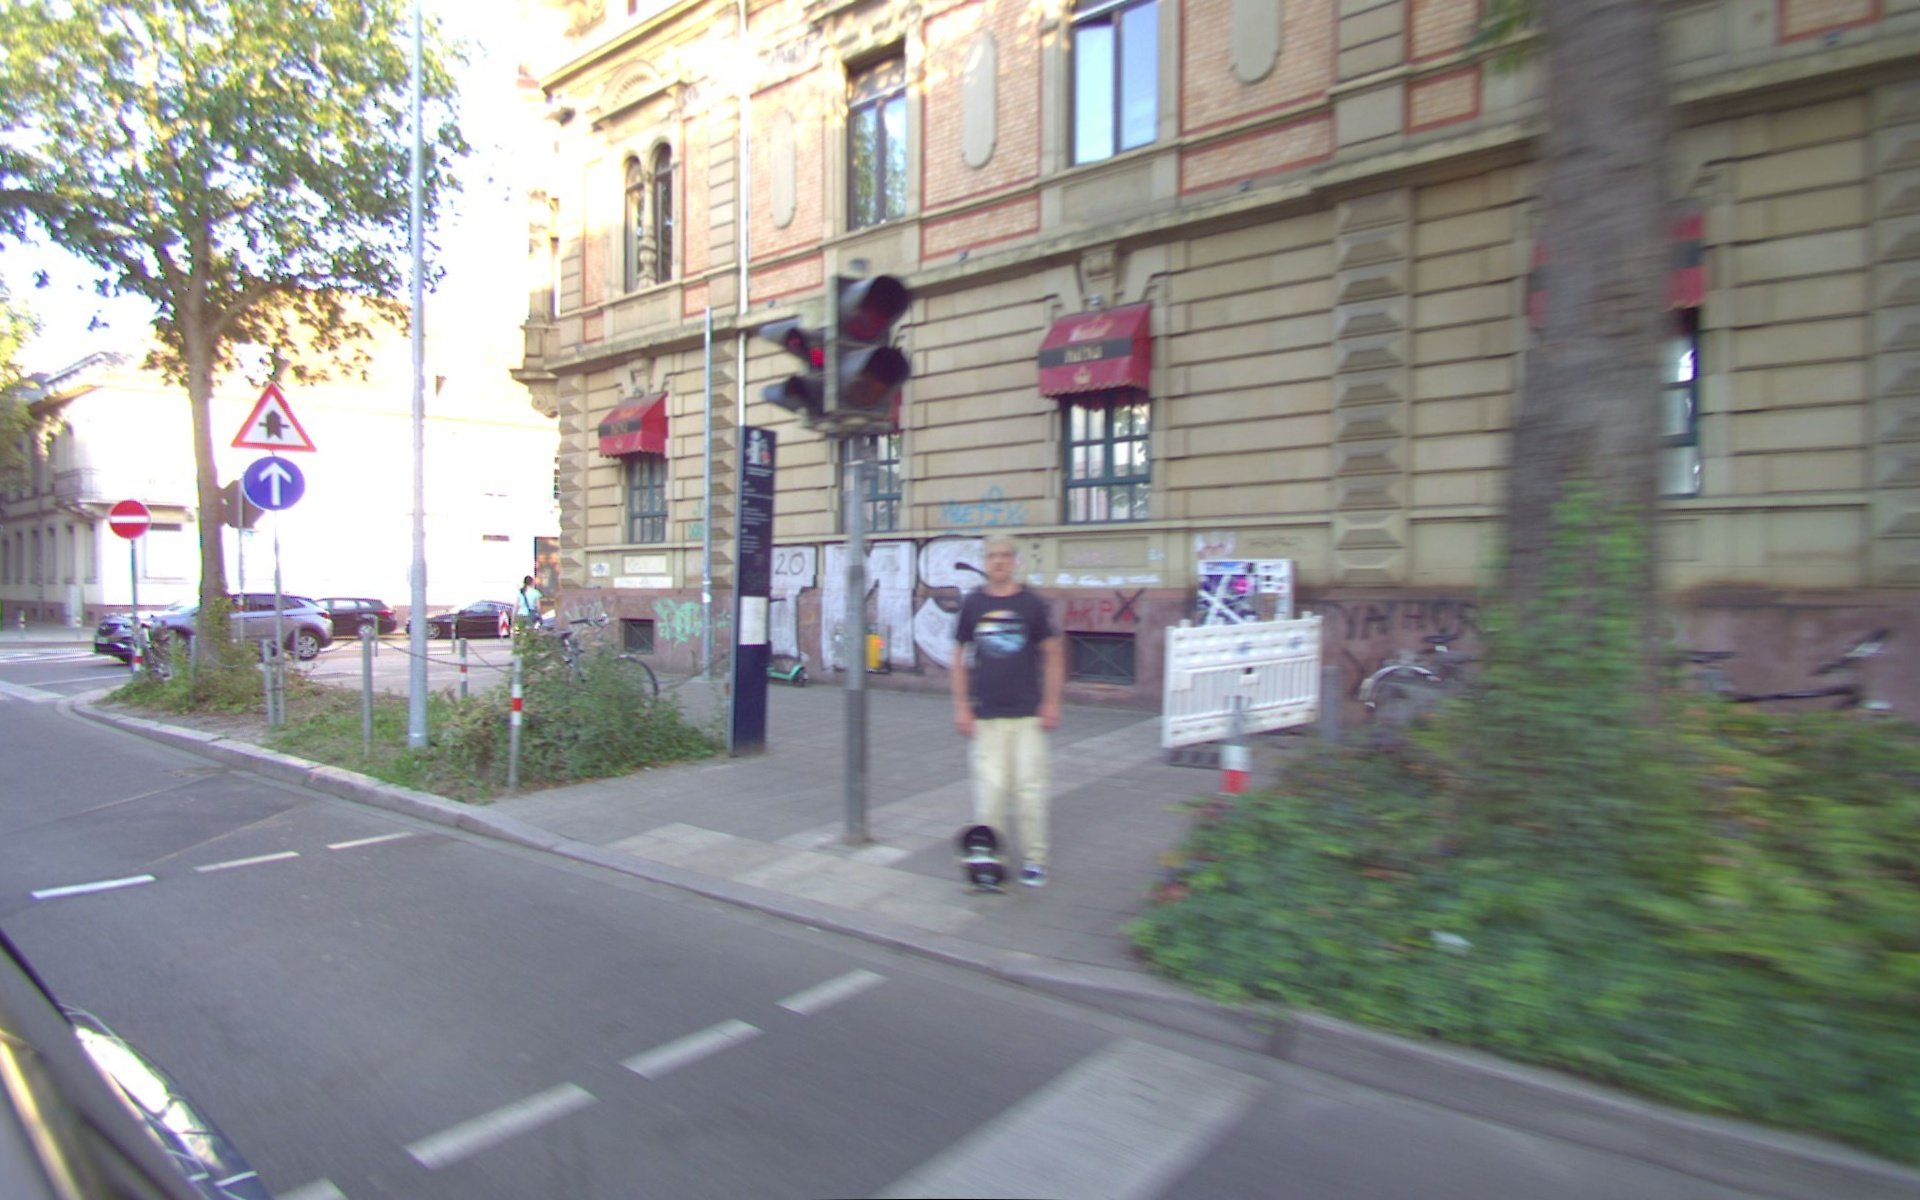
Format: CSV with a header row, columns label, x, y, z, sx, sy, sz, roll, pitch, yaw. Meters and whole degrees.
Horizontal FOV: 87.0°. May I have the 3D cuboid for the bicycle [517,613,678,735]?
label,x,y,z,sx,sy,sz,roll,pitch,yaw
bicycle,-3.687,0.706,10.244,1.794,1.116,0.495,0,2,31

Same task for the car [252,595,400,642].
label,x,y,z,sx,sy,sz,roll,pitch,yaw
car,-21.569,0.612,34.636,4.197,1.541,1.839,0,0,-29

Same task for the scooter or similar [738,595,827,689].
label,x,y,z,sx,sy,sz,roll,pitch,yaw
scooter or similar,-2.397,0.558,13.594,1.271,1.207,0.380,-2,1,38

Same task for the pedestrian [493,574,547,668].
label,x,y,z,sx,sy,sz,roll,pitch,yaw
pedestrian,-7.664,0.349,17.664,0.643,1.577,0.909,-3,1,-13

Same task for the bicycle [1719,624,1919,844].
label,x,y,z,sx,sy,sz,roll,pitch,yaw
bicycle,5.268,0.723,5.510,1.796,1.116,0.494,0,3,36

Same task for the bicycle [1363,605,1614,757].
label,x,y,z,sx,sy,sz,roll,pitch,yaw
bicycle,4.350,0.622,8.404,1.796,1.116,0.494,0,3,36

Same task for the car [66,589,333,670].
label,x,y,z,sx,sy,sz,roll,pitch,yaw
car,-16.634,0.590,22.389,1.939,1.582,4.319,1,0,27

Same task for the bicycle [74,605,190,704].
label,x,y,z,sx,sy,sz,roll,pitch,yaw
bicycle,-11.651,0.724,14.335,0.793,1.234,2.425,-4,1,-29

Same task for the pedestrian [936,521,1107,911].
label,x,y,z,sx,sy,sz,roll,pitch,yaw
pedestrian,0.282,0.530,5.090,0.756,1.790,0.831,-1,1,0

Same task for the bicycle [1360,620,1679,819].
label,x,y,z,sx,sy,sz,roll,pitch,yaw
bicycle,3.644,0.722,6.683,1.796,1.116,0.494,0,3,36

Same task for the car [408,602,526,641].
label,x,y,z,sx,sy,sz,roll,pitch,yaw
car,-17.888,0.761,36.758,3.751,1.335,1.839,0,0,-28
